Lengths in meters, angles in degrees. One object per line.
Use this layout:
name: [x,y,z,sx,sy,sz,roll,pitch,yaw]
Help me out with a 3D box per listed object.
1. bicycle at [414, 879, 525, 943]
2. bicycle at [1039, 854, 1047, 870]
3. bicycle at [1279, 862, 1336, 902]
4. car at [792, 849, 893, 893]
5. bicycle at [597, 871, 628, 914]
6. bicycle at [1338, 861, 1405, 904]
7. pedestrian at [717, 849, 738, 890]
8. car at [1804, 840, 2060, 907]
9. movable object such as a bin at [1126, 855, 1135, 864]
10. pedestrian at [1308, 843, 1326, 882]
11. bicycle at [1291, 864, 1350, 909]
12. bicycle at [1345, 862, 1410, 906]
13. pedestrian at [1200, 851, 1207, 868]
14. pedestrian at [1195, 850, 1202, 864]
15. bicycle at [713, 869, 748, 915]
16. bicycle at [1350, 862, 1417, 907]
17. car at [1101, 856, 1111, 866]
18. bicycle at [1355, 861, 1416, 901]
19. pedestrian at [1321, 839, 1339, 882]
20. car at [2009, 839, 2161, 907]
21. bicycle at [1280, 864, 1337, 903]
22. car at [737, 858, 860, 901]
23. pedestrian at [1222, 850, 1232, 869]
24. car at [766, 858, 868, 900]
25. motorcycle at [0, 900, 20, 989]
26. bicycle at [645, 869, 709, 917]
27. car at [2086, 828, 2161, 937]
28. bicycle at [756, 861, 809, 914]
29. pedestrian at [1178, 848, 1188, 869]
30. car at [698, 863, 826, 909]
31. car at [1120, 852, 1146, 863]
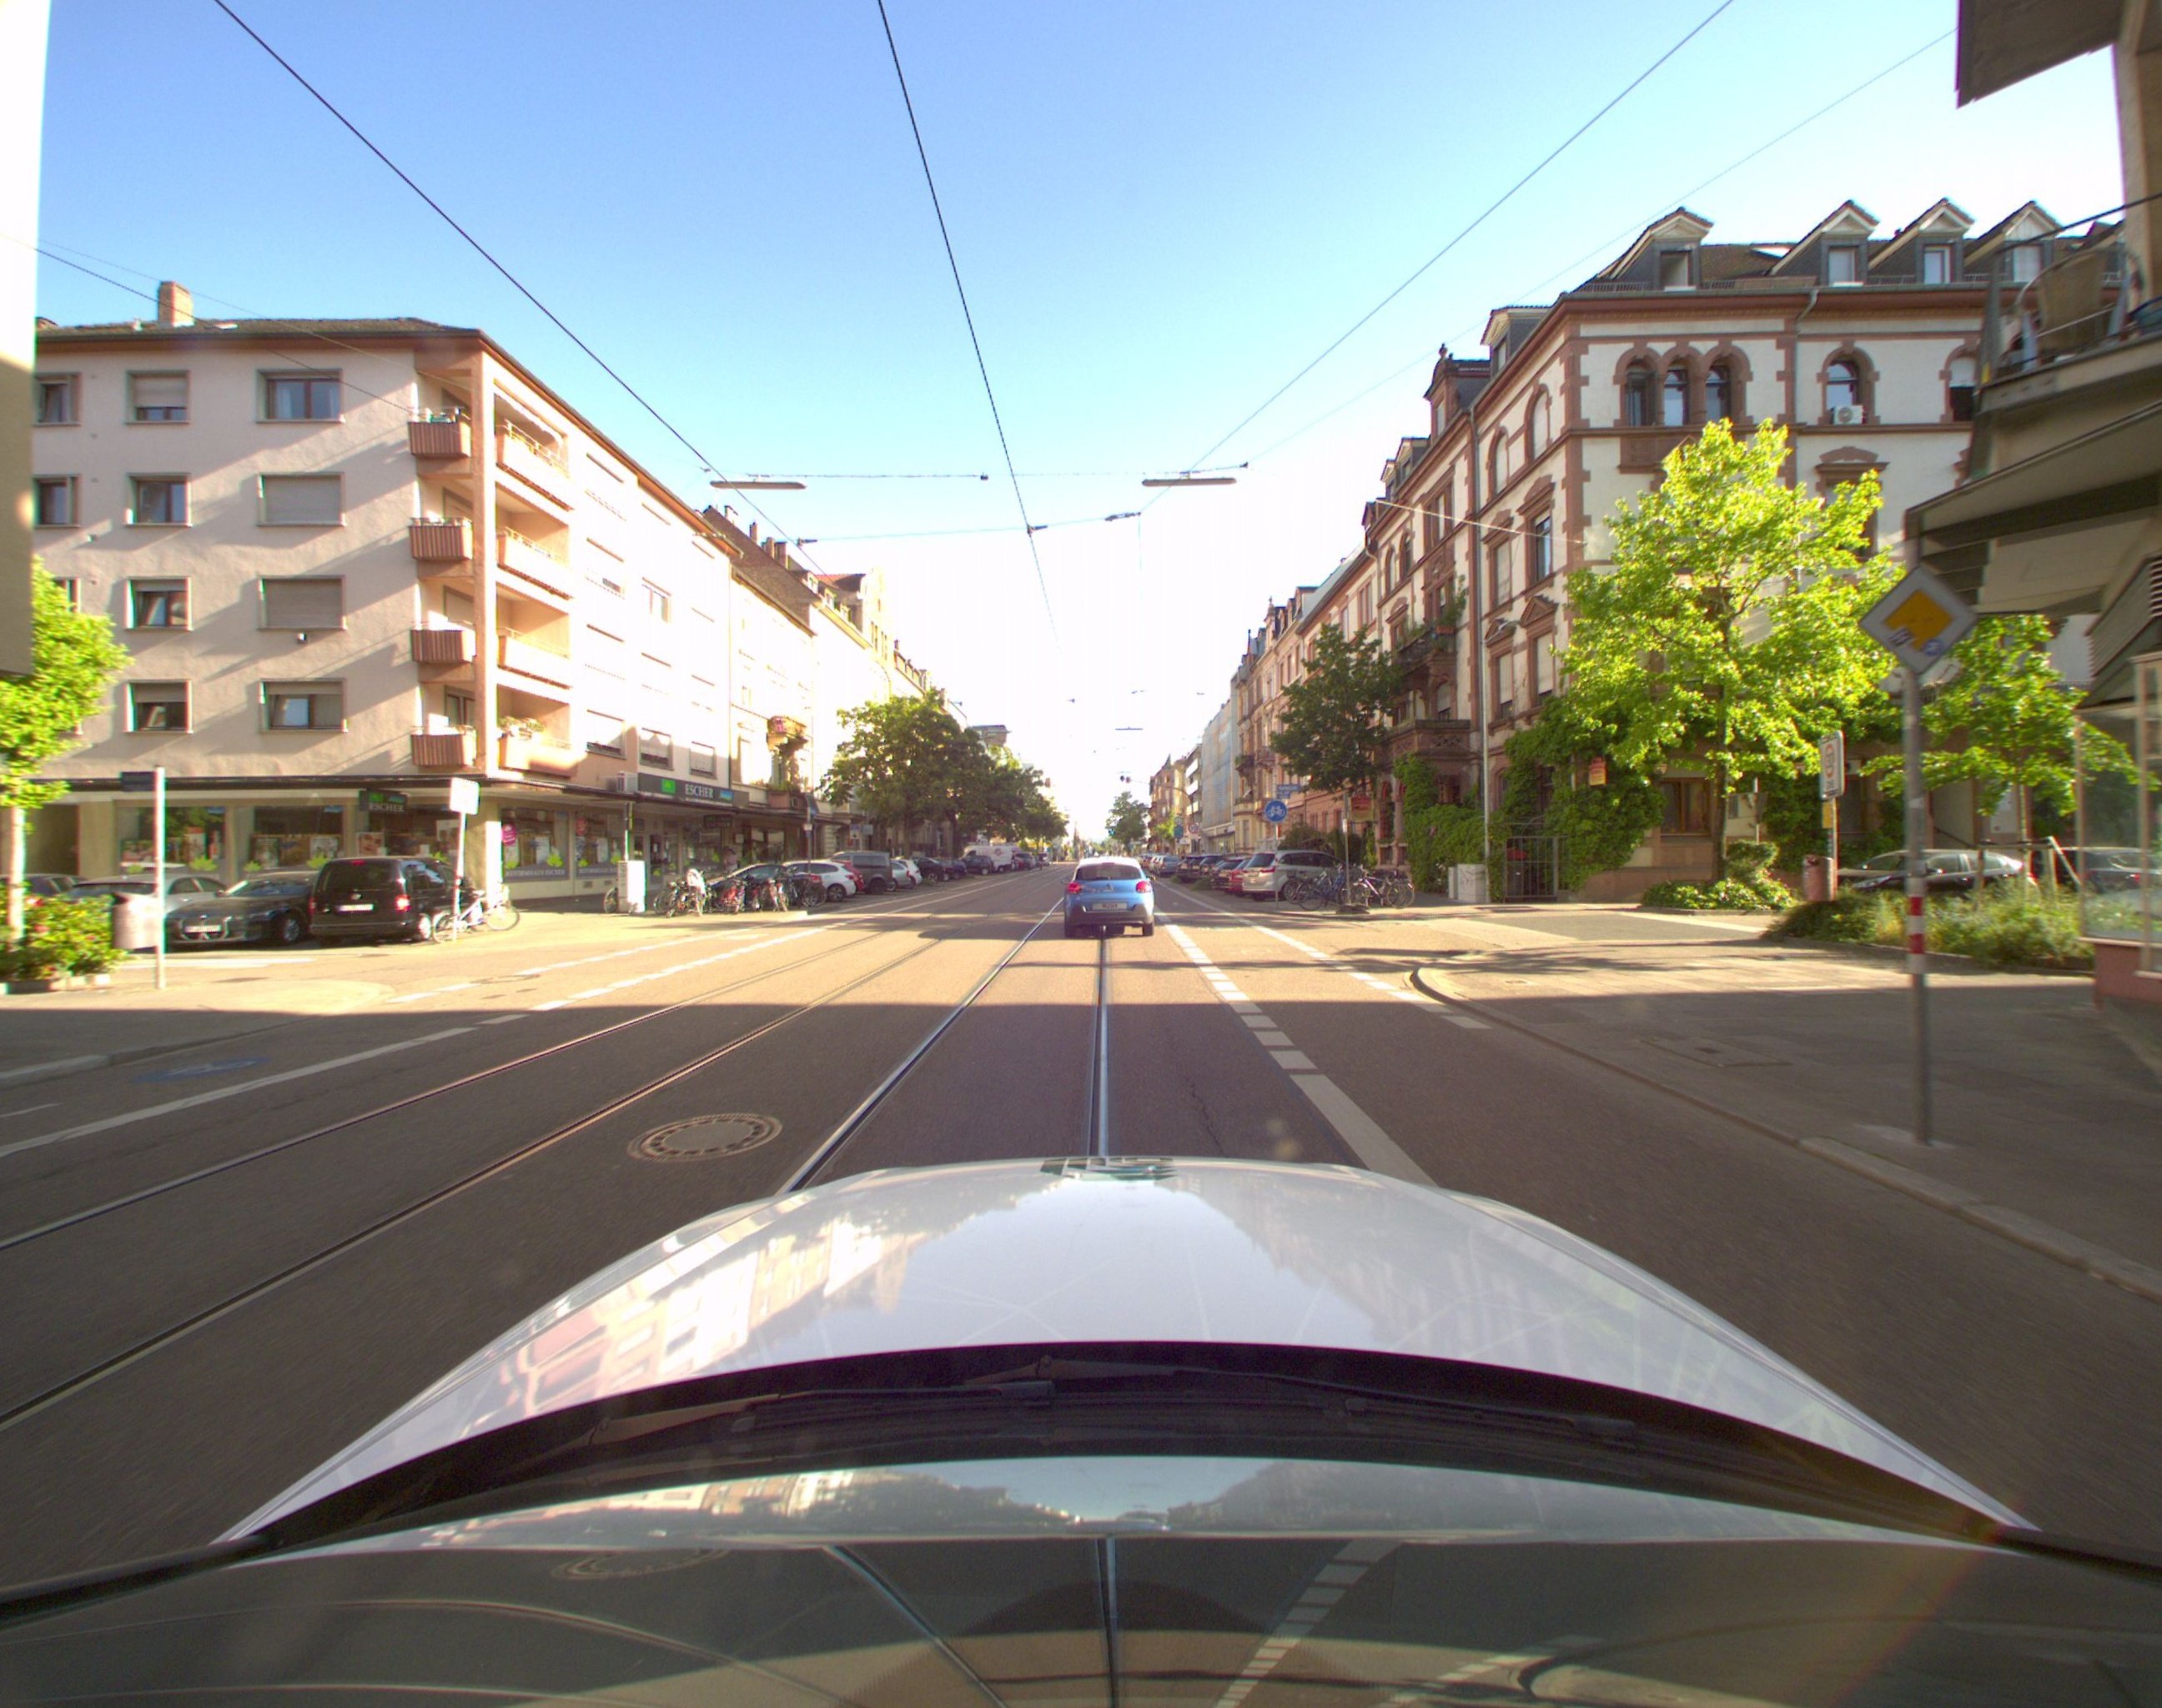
bicycle: [-13.049,1.177,17.489,0.680,1.109,2.432,0,2,-5]
bicycle: [-4.060,0.883,87.059,0.678,1.679,2.097,0,-1,2]
bicycle: [6.506,0.810,23.425,1.551,1.127,0.295,0,-1,8]
car: [-9.985,0.692,34.124,3.831,1.785,1.781,0,-1,-27]
bicycle: [-12.895,1.033,22.451,0.404,1.109,1.825,-1,-1,-19]
bicycle: [7.880,0.764,22.140,1.665,1.127,0.553,0,-1,8]
pedestrian: [-14.529,0.637,33.462,0.567,1.652,0.641,0,-1,2]
car: [19.237,0.427,18.552,3.971,1.453,1.713,0,-1,2]
movable object such as a bin: [8.288,0.863,135.837,1.389,1.483,1.656,0,-1,2]
pedestrian: [10.011,0.357,34.545,0.516,1.648,0.864,0,-1,2]
bicycle: [6.249,0.835,21.244,1.399,1.127,0.549,0,-1,-13]
bicycle: [7.826,0.779,21.517,1.547,1.127,0.529,0,-1,8]
pedestrian: [12.677,0.618,84.362,0.690,1.756,0.678,0,-1,1]
pedestrian: [14.049,0.356,97.209,0.690,1.588,0.678,0,-1,1]
bicycle: [-9.704,1.019,22.502,0.685,1.123,1.870,-1,2,-29]
bicycle: [7.762,0.771,20.927,1.547,1.127,0.553,0,-1,8]
car: [3.653,1.009,117.510,1.417,1.432,3.140,0,0,2]
bicycle: [8.652,0.763,23.208,1.547,1.127,0.553,0,-1,8]
pedestrian: [10.563,0.279,34.538,0.516,1.778,0.864,0,-1,2]
car: [23.934,0.412,18.372,3.971,1.453,1.713,0,-1,2]
bicycle: [6.444,0.831,23.094,1.547,1.079,0.308,0,-1,8]
car: [-9.858,0.846,28.473,3.804,1.400,1.737,0,-1,-31]
pedestrian: [12.521,0.444,69.792,0.709,1.607,0.654,0,-1,1]
car: [-10.093,0.911,31.120,3.479,1.473,1.634,-1,0,-28]
motorcycle: [-15.080,1.234,10.221,0.617,1.209,2.177,0,0,2]
bicycle: [-10.872,1.025,21.864,2.405,1.109,0.688,2,2,42]
car: [16.502,0.394,10.963,1.777,1.532,3.498,0,-1,-29]
bicycle: [-8.374,0.898,22.954,0.680,1.319,2.434,0,2,-2]
pedestrian: [8.207,0.365,65.501,0.709,1.607,0.654,0,-1,1]
car: [-9.977,0.964,25.519,3.483,1.337,1.608,0,-1,-33]
car: [8.032,0.542,125.412,3.664,1.534,1.778,0,-1,-18]
